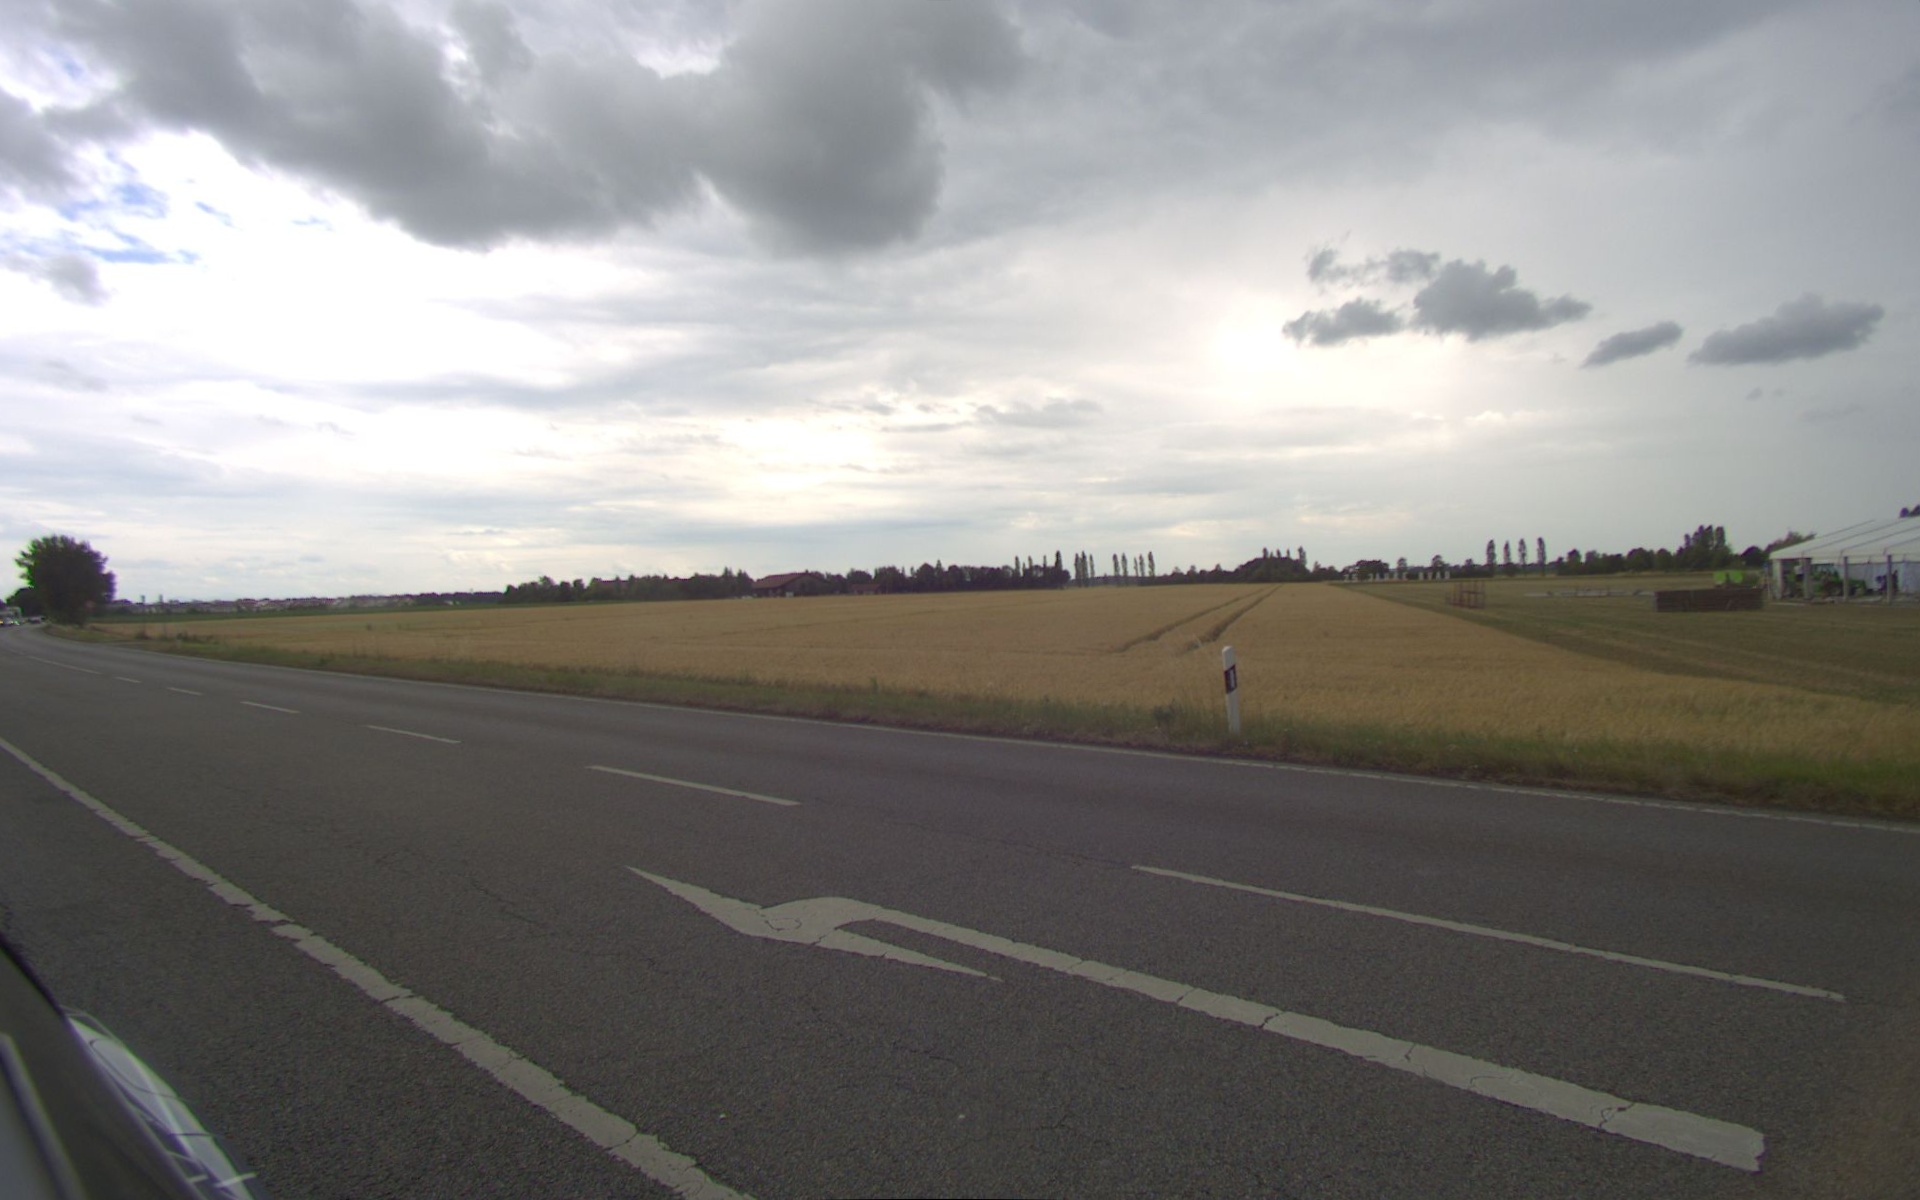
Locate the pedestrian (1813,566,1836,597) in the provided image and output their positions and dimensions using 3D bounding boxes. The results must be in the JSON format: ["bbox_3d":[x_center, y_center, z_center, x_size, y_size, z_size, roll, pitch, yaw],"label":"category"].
[{"bbox_3d":[57.819,-1.211,67.672,0.801,2.029,1.018,-1,0,20],"label":"pedestrian"}]

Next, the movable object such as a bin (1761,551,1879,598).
[{"bbox_3d":[62.917,-1.855,74.348,4.127,3.201,7.533,-1,1,20],"label":"movable object such as a bin"}]

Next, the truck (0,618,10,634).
[{"bbox_3d":[-166.871,4.480,175.662,2.285,2.786,7.686,-2,0,-40],"label":"truck"}]

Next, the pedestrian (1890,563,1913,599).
[{"bbox_3d":[57.388,-1.155,61.670,0.940,2.118,0.856,-1,0,40],"label":"pedestrian"}]

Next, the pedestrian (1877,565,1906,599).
[{"bbox_3d":[56.046,-1.079,60.908,0.793,2.029,1.029,-1,0,-21],"label":"pedestrian"}]
